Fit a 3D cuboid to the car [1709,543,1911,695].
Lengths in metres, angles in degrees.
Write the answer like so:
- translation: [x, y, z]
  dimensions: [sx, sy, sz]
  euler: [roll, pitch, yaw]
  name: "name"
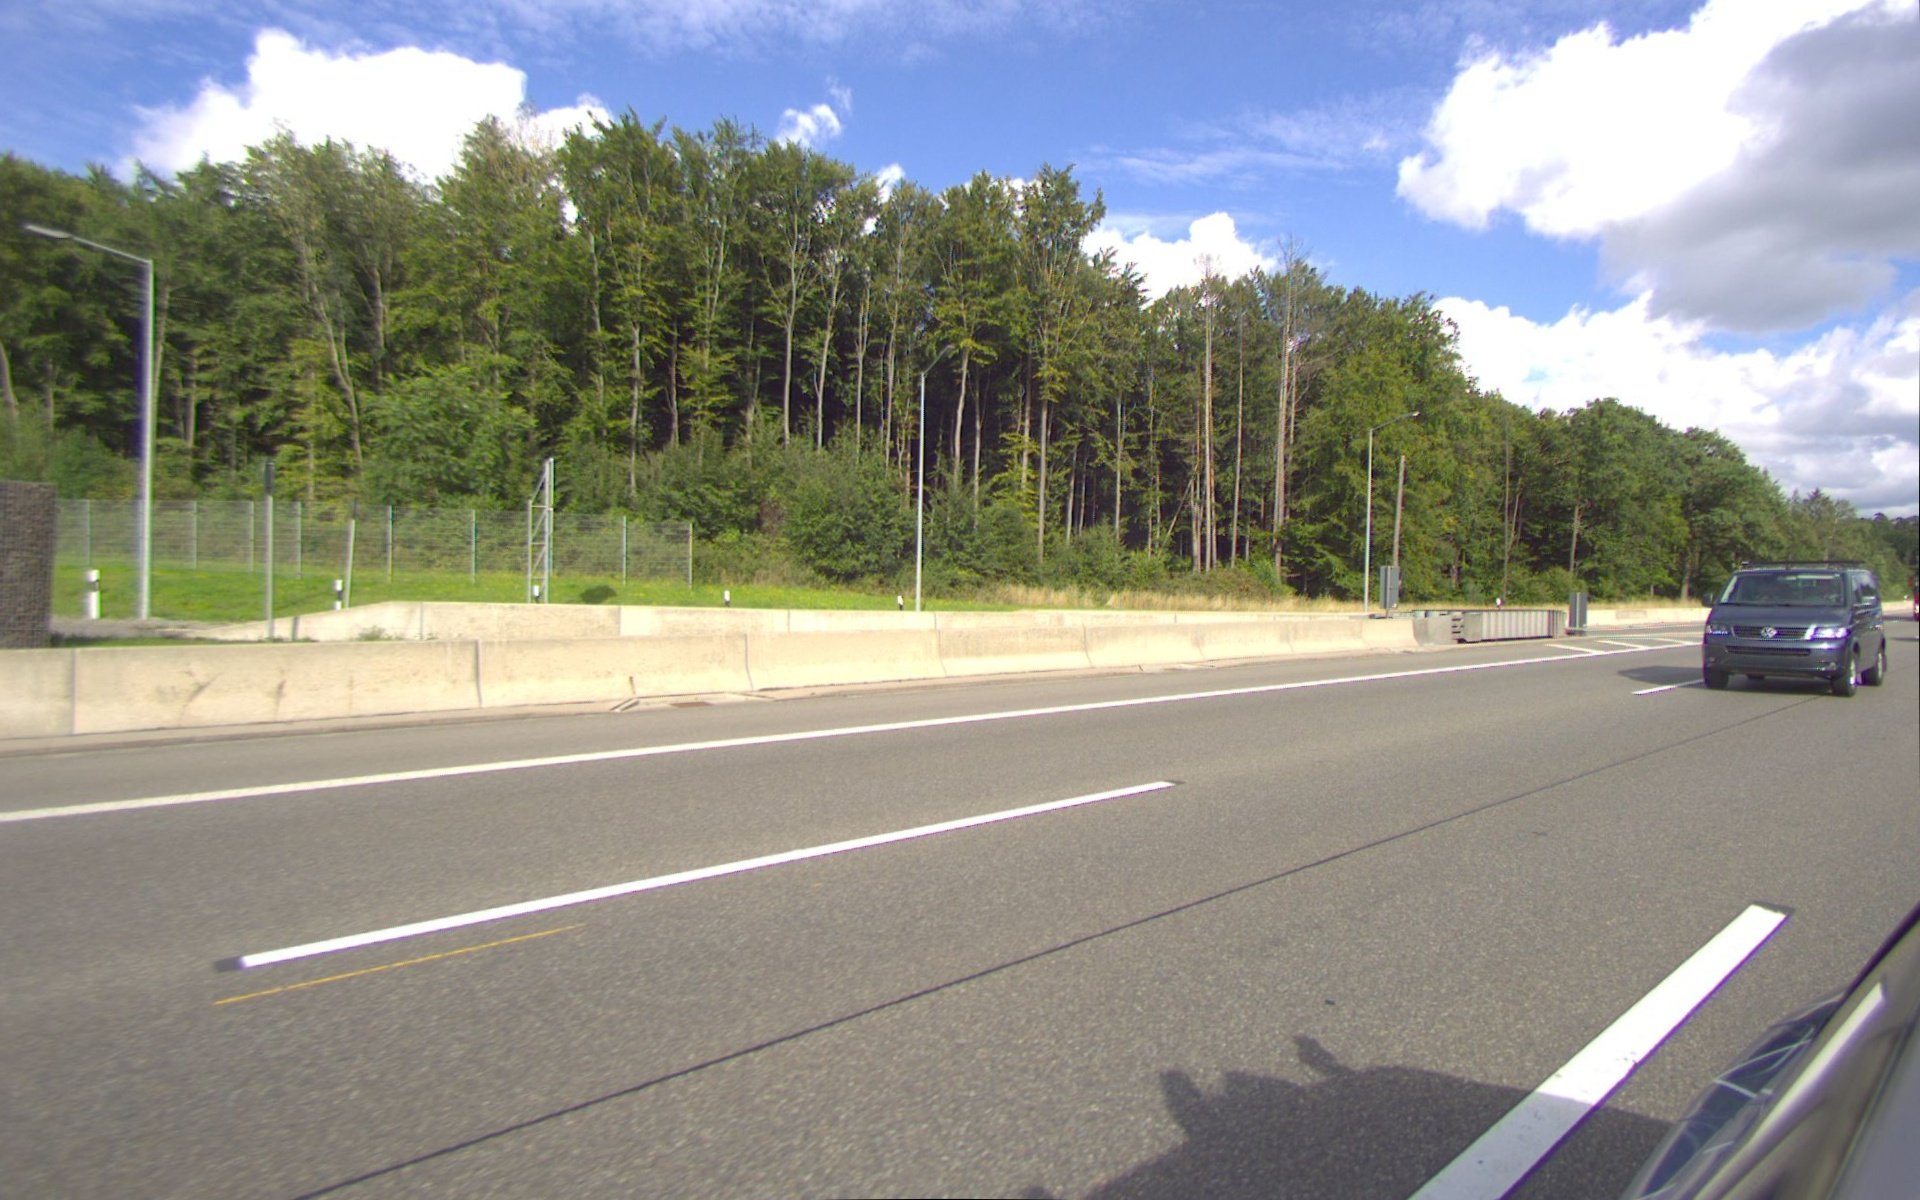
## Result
- translation: [14.317, 0.220, 16.938]
  dimensions: [4.876, 2.192, 1.925]
  euler: [-1, 2, -42]
  name: "car"
